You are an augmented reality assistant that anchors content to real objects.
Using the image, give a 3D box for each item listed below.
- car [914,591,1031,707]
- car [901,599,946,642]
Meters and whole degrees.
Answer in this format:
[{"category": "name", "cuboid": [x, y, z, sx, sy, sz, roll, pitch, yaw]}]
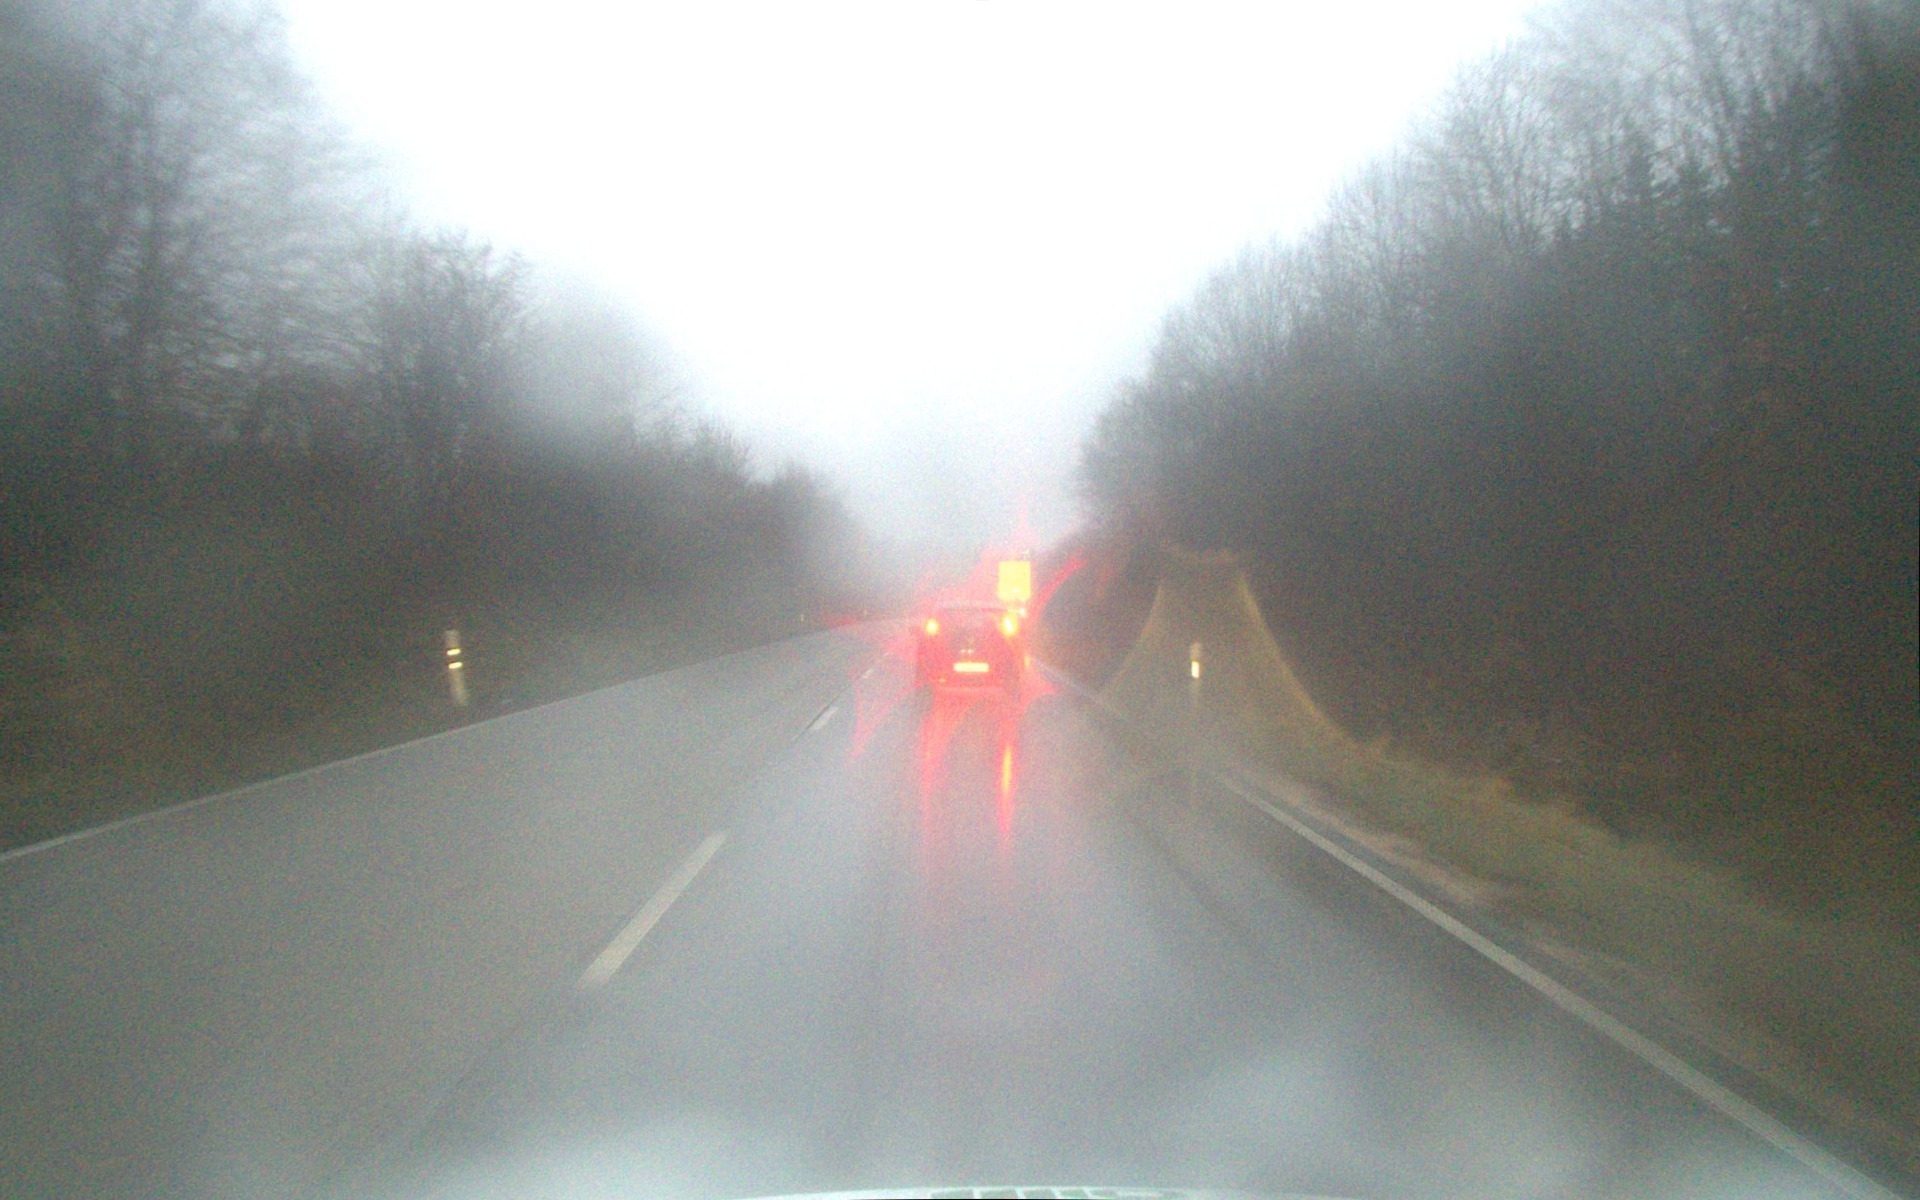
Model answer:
[{"category": "car", "cuboid": [0.198, 0.707, 25.952, 1.692, 1.672, 4.000, 0, 0, 0]}, {"category": "car", "cuboid": [-1.448, 0.796, 66.452, 1.692, 1.672, 4.000, 0, 0, 0]}]
